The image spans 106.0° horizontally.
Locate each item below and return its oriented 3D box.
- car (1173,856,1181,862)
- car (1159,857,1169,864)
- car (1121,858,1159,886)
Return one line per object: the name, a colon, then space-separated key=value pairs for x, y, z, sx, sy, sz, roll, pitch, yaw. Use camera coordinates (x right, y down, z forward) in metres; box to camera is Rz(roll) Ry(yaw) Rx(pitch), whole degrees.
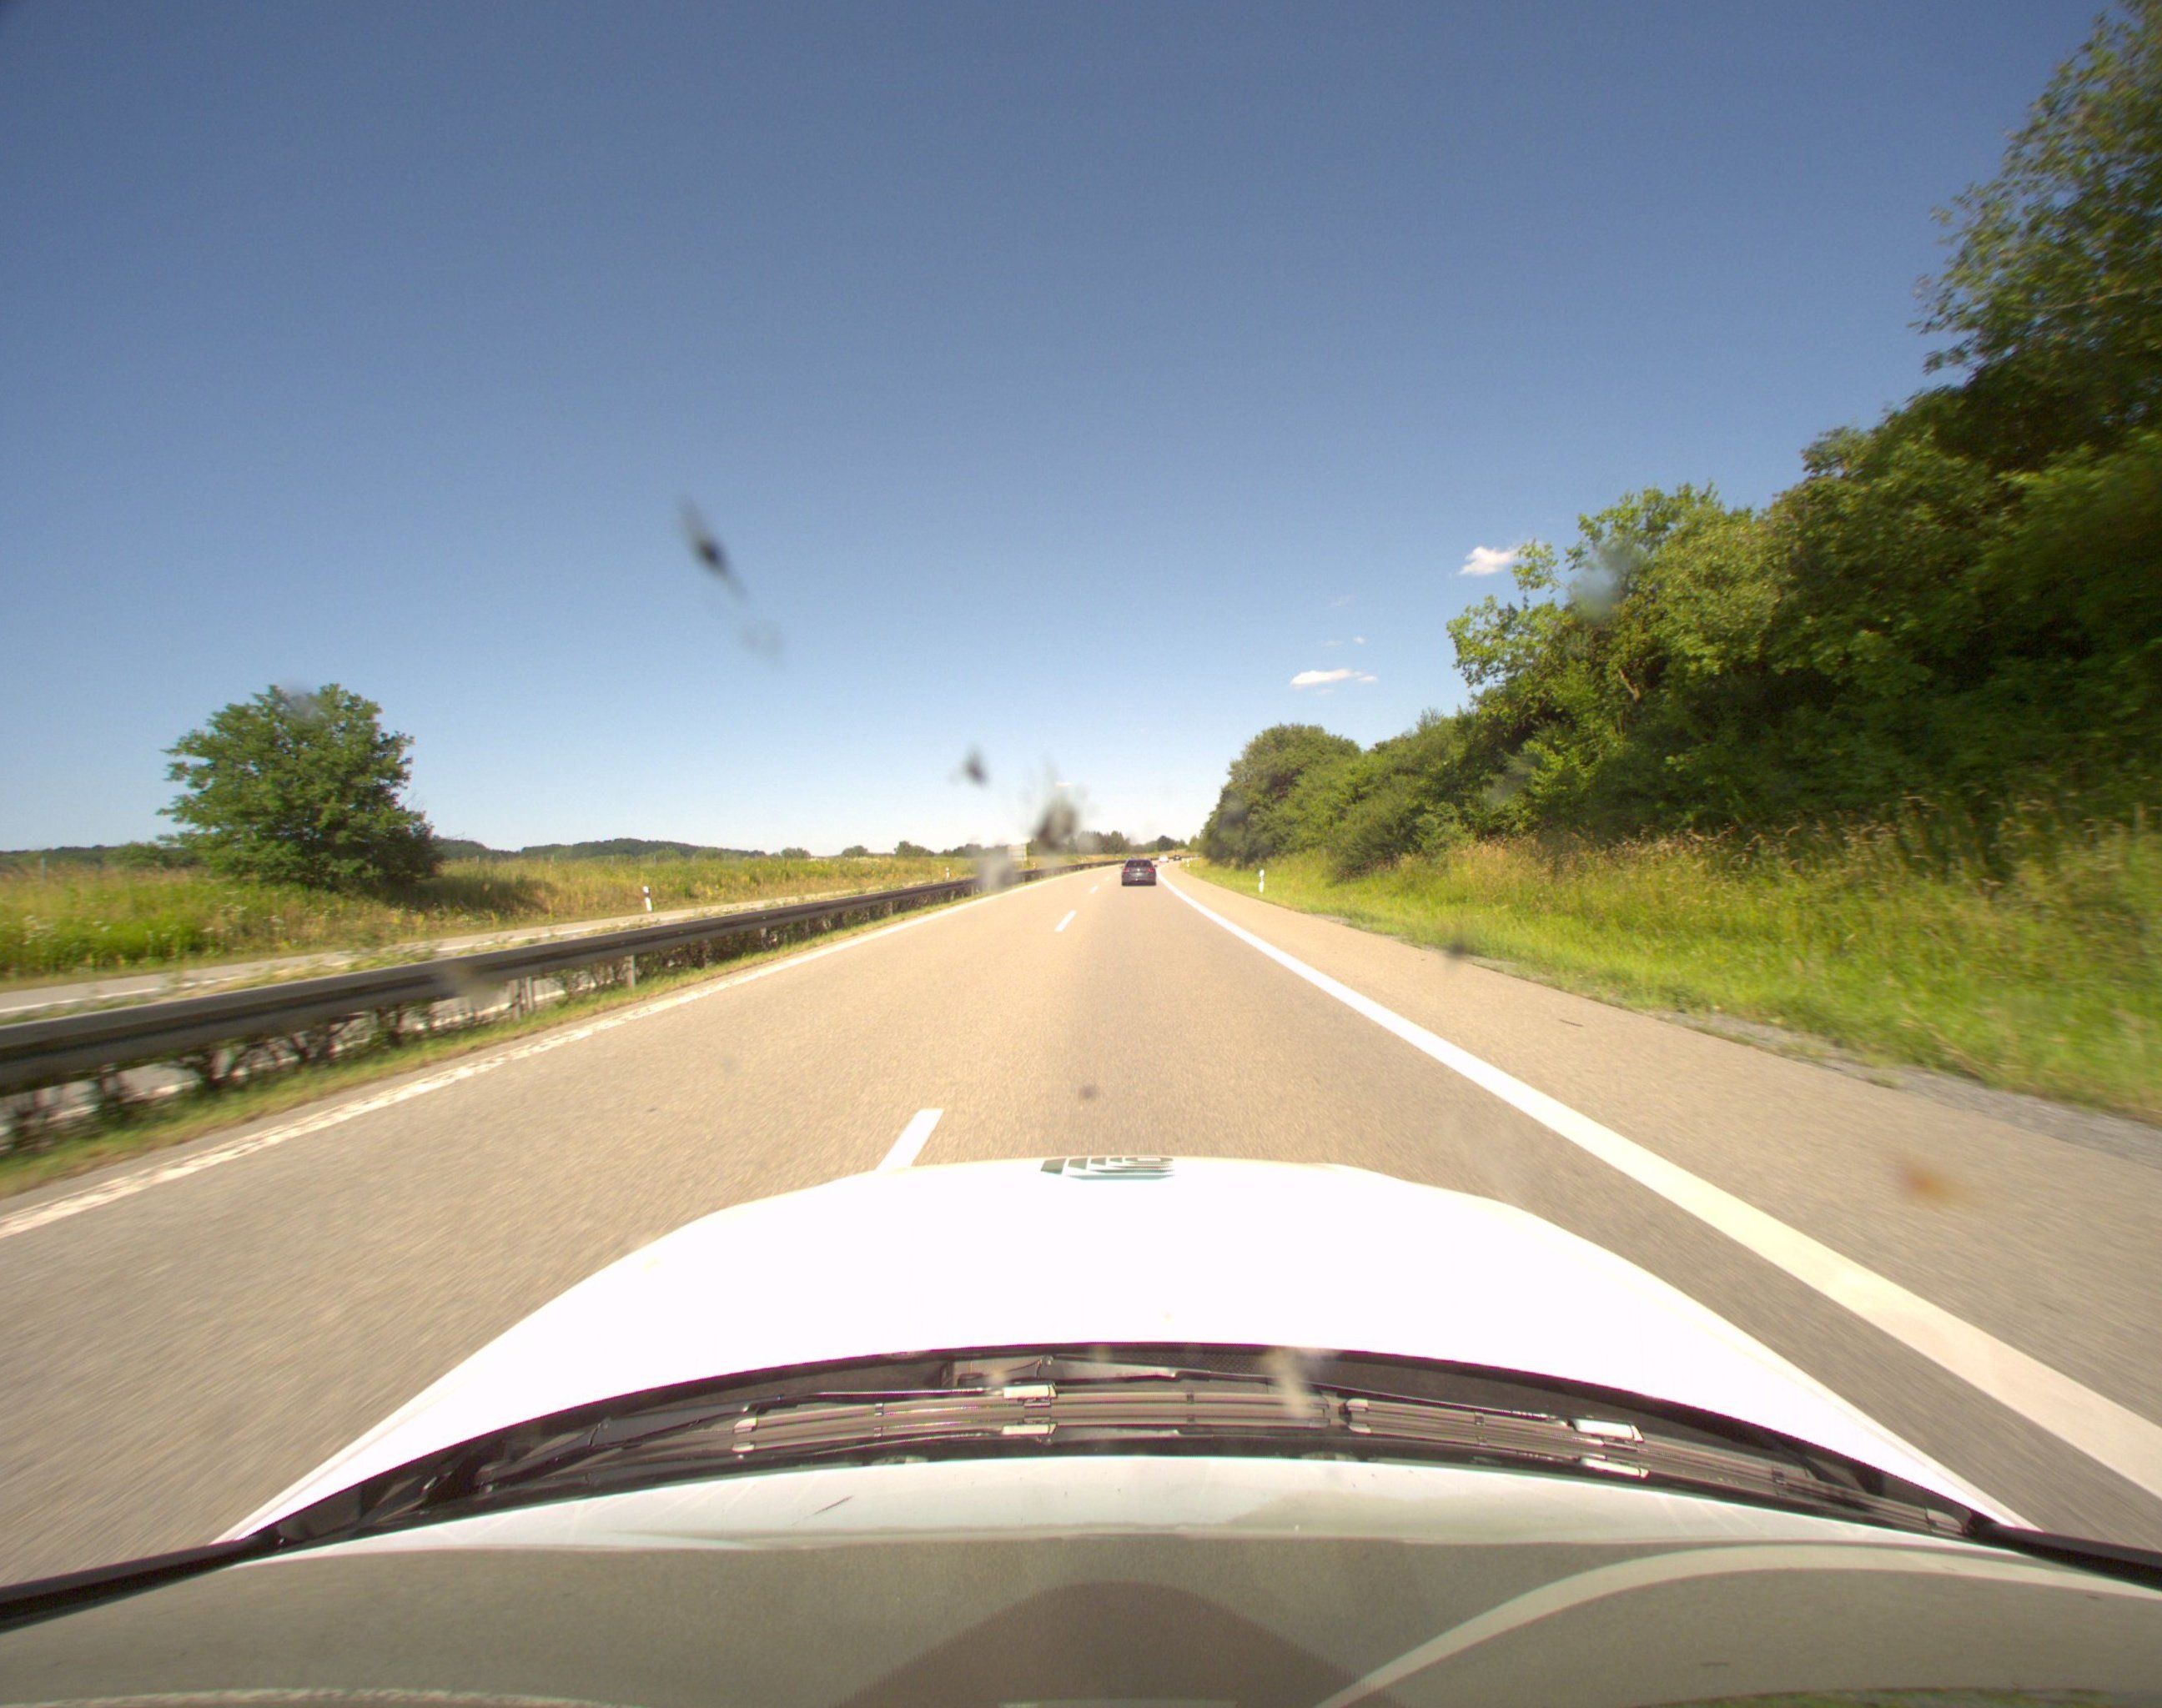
car: x=23.632 y=1.165 z=200.520 sx=1.699 sy=1.387 sz=3.365 roll=0 pitch=-1 yaw=11
car: x=16.938 y=1.399 z=167.054 sx=1.997 sy=1.345 sz=4.005 roll=0 pitch=-1 yaw=5
car: x=3.033 y=0.916 z=42.535 sx=1.784 sy=1.344 sz=4.001 roll=0 pitch=0 yaw=2
